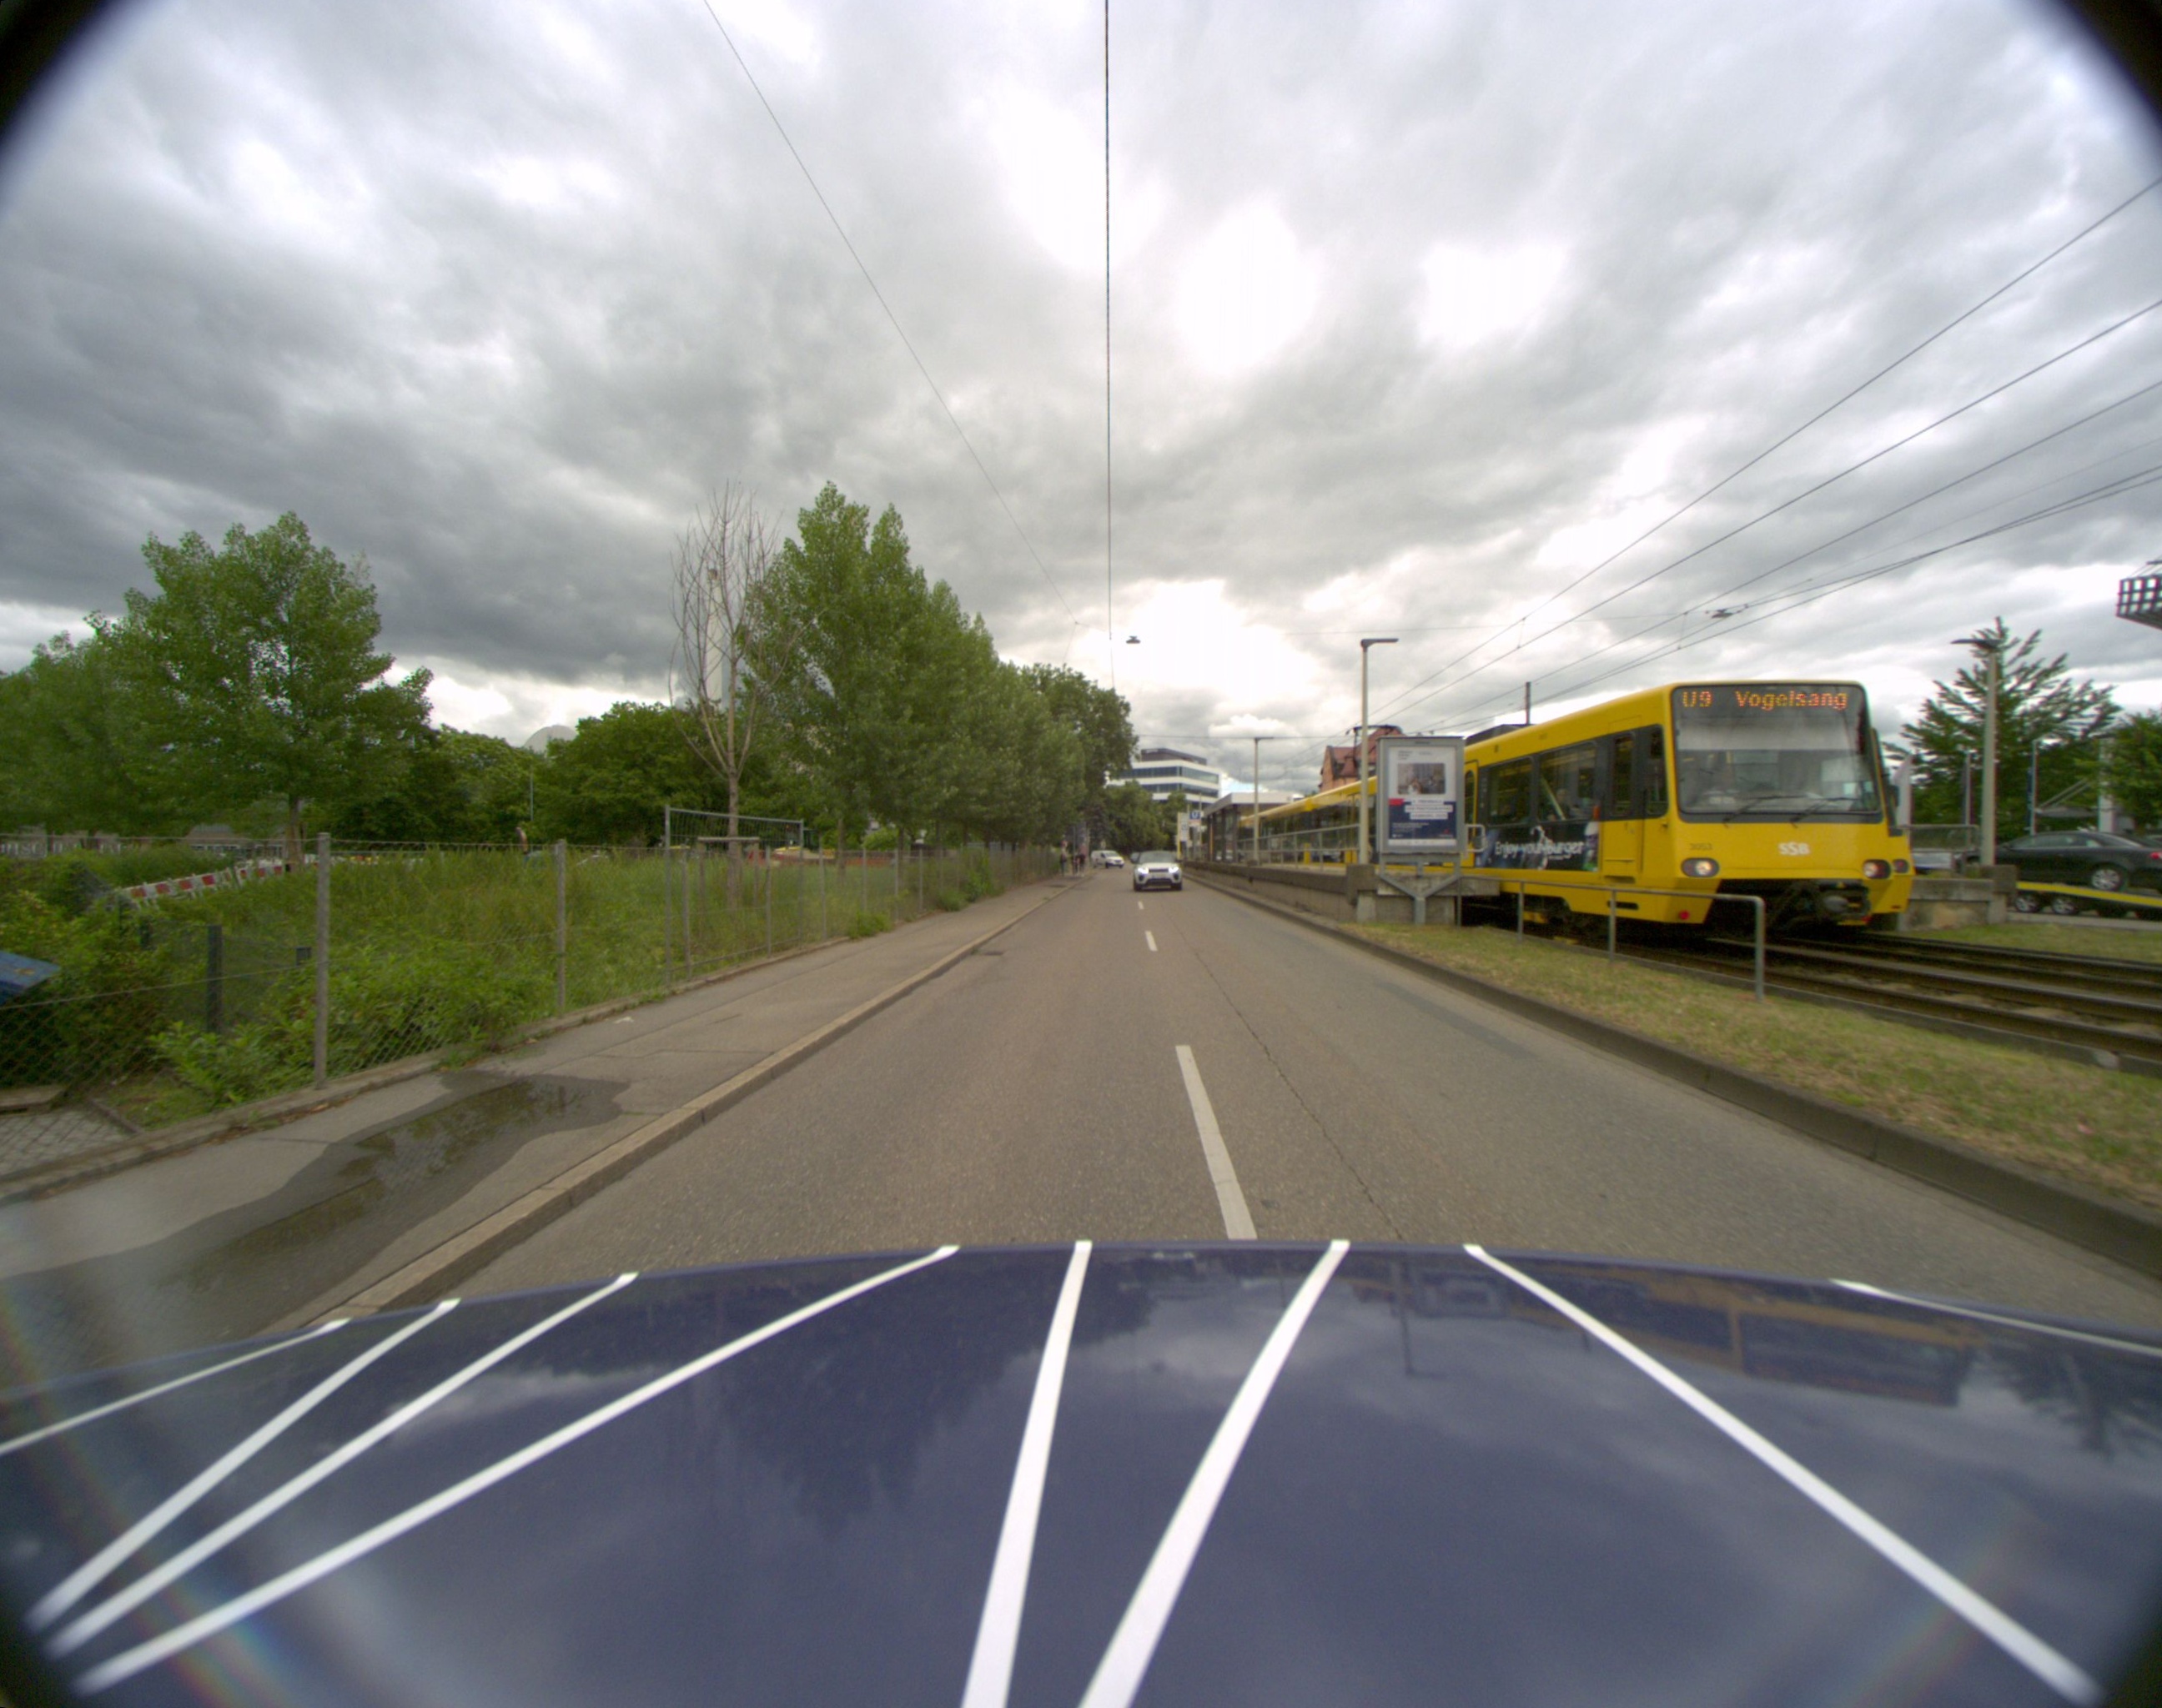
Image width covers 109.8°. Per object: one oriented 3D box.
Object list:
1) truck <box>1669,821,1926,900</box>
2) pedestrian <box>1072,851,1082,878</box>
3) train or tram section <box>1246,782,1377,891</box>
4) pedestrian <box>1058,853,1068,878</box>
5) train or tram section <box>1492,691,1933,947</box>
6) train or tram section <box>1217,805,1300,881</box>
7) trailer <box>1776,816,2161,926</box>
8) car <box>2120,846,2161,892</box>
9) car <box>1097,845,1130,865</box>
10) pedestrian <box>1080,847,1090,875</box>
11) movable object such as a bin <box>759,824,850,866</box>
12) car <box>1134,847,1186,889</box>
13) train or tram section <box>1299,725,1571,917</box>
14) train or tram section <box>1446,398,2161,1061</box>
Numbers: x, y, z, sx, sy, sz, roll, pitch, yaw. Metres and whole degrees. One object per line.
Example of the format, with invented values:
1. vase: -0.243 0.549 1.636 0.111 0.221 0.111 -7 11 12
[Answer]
1. truck: 24.351 0.173 26.398 2.835 2.383 6.454 0 1 0
2. pedestrian: -0.276 0.736 52.547 0.604 1.857 0.672 0 2 4
3. train or tram section: 9.665 -0.596 33.536 2.747 3.943 11.915 0 0 3
4. pedestrian: -1.219 0.790 52.349 0.604 1.681 0.671 0 5 4
5. train or tram section: 11.795 -0.568 15.828 1.998 3.774 9.180 0 1 4
6. train or tram section: 10.303 -0.538 45.480 2.747 3.943 11.915 0 0 3
7. trailer: 24.214 0.306 19.966 2.861 2.307 10.022 0 1 1
8. car: 37.041 0.475 24.379 3.990 1.477 1.799 0 1 24
9. car: 3.329 0.076 79.053 2.043 2.007 4.532 -1 1 -17
10. pedestrian: 0.266 0.443 51.696 0.604 1.858 0.671 0 5 4
11. movable object such as a bin: -14.729 -0.535 40.775 1.994 2.003 4.300 2 5 28
12. car: 3.222 0.548 31.527 1.915 1.560 4.115 -3 -1 4
13. train or tram section: 8.980 -0.640 21.593 2.747 3.943 11.915 0 0 3
14. train or tram section: 8.344 -0.730 9.647 2.978 4.041 10.199 0 0 3
